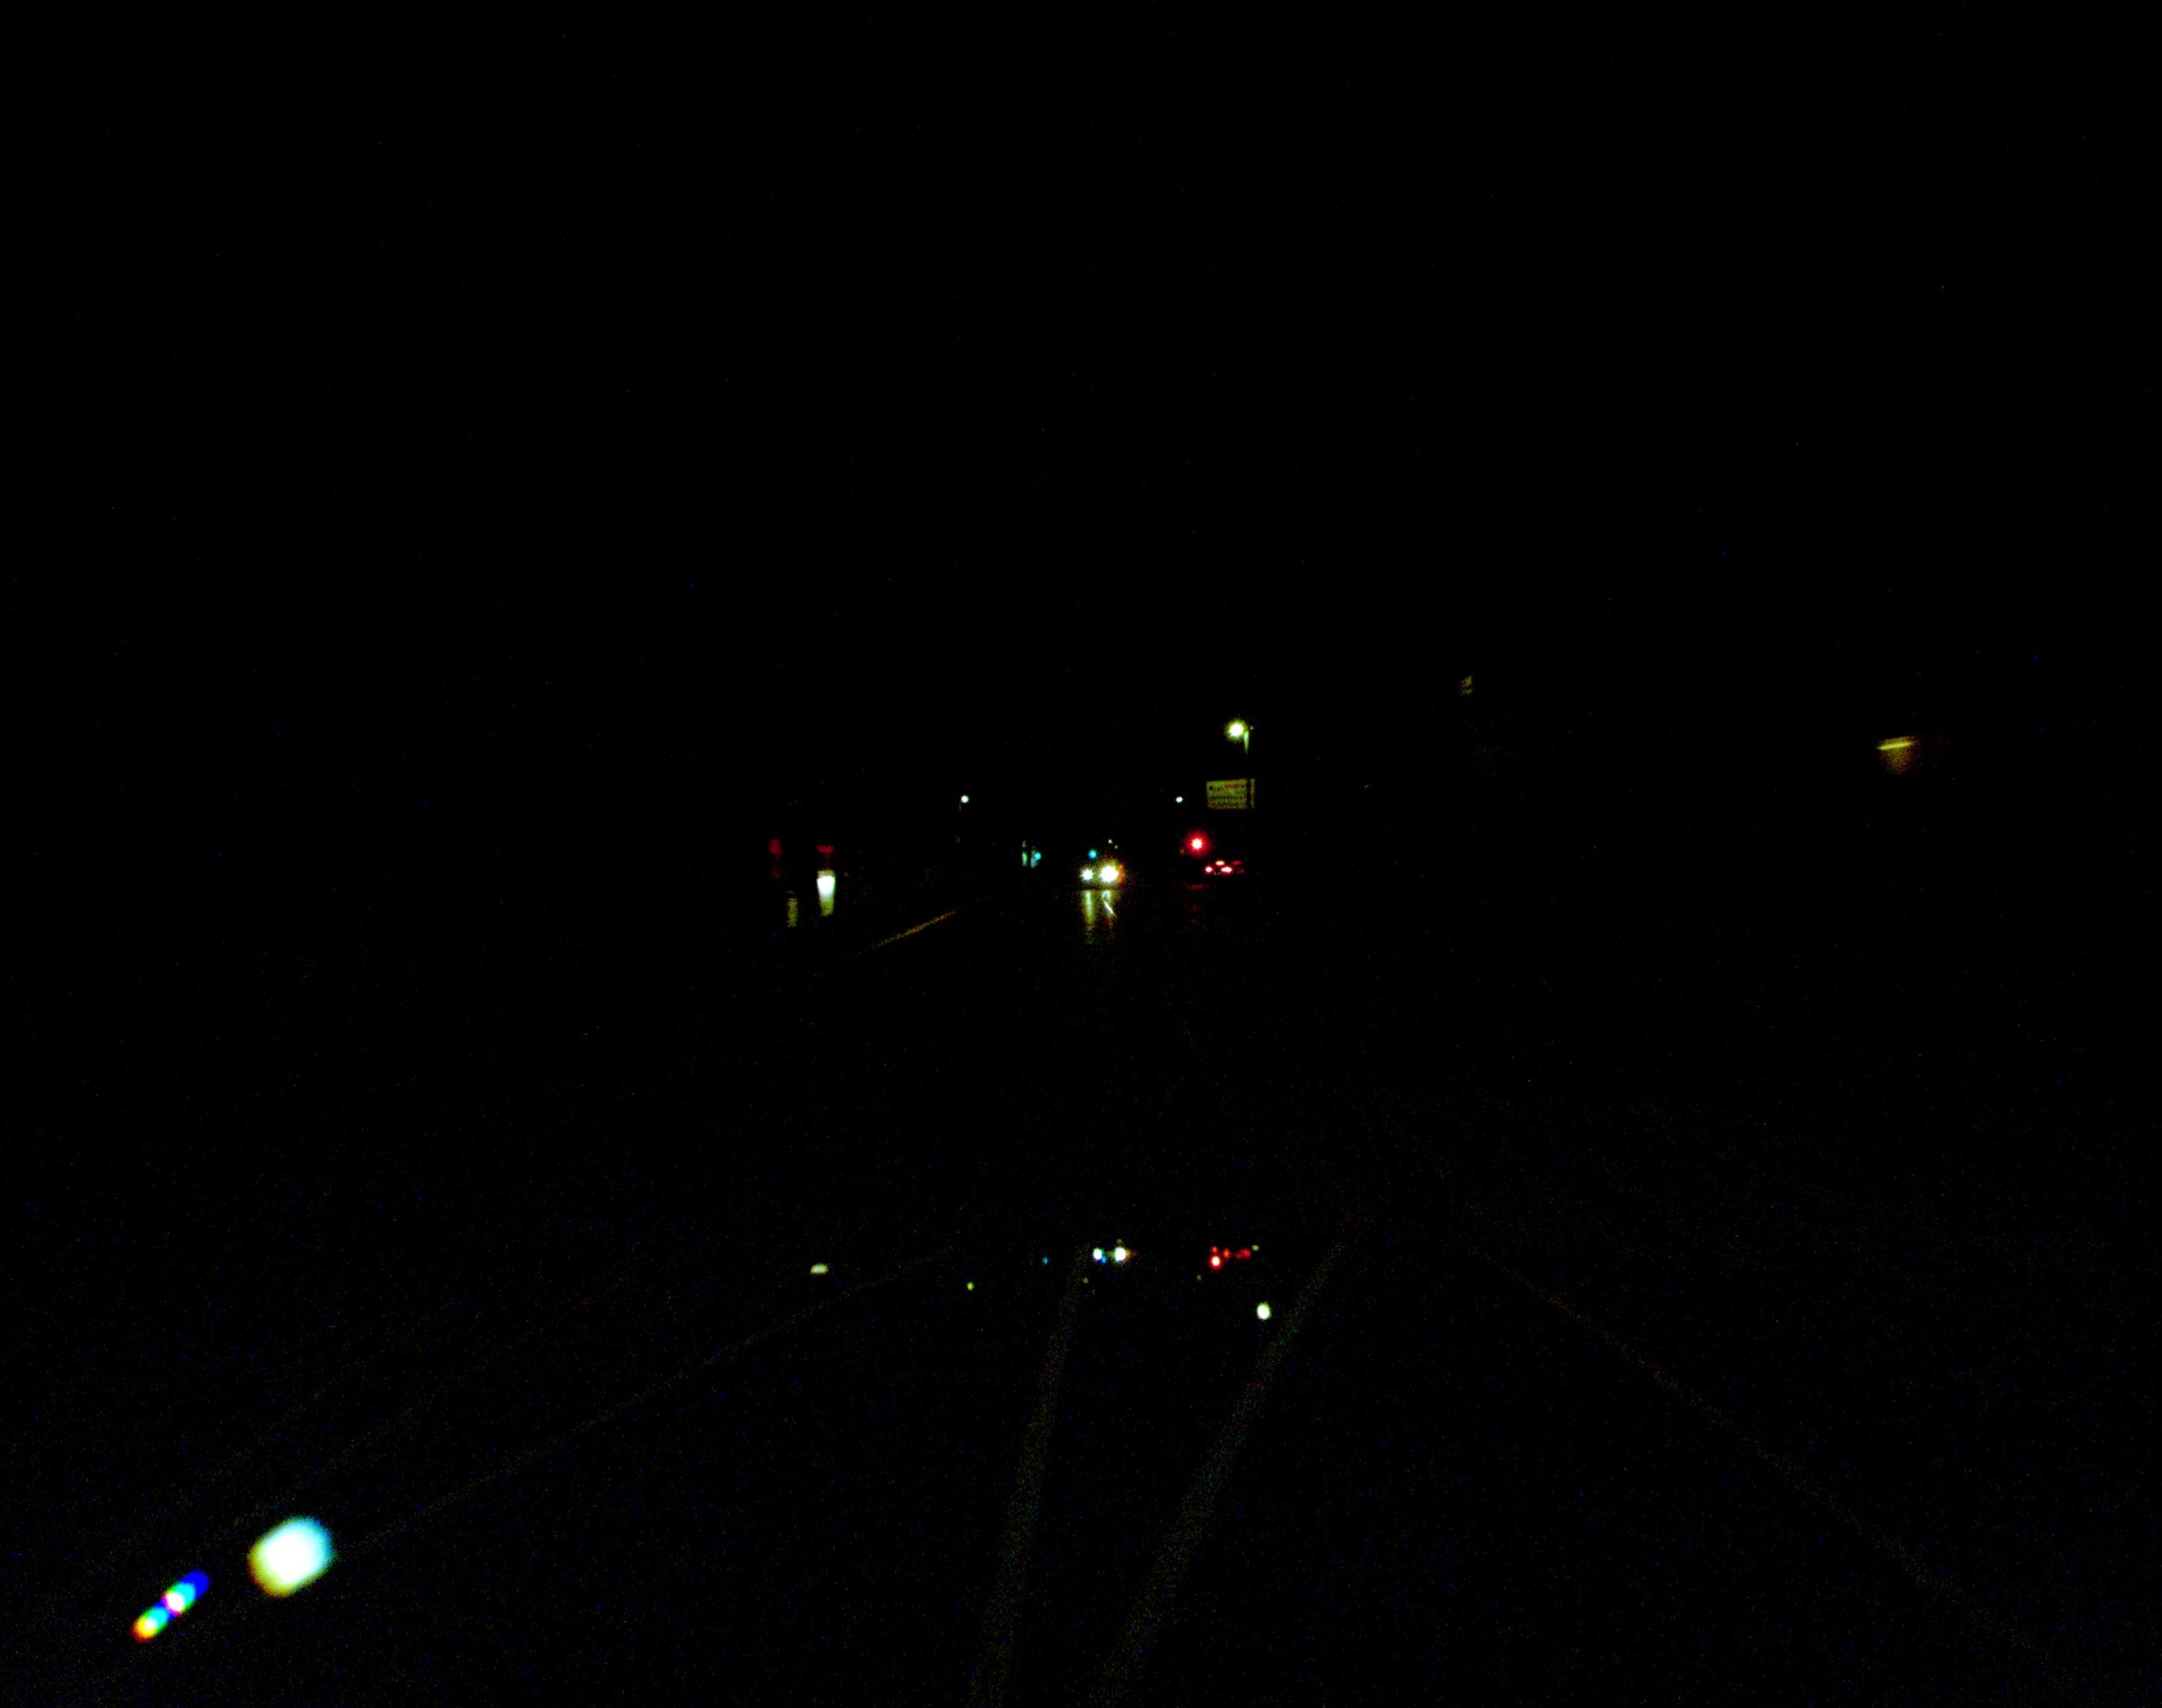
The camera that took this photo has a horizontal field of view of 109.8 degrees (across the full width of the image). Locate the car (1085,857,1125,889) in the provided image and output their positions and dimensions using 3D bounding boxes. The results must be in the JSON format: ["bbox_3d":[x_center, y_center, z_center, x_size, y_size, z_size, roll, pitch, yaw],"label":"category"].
[{"bbox_3d":[1.251,0.954,38.531,1.512,1.492,3.052,-2,0,12],"label":"car"}]

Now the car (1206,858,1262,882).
[{"bbox_3d":[9.646,0.992,47.753,1.726,1.421,4.299,-2,-1,37],"label":"car"}]
